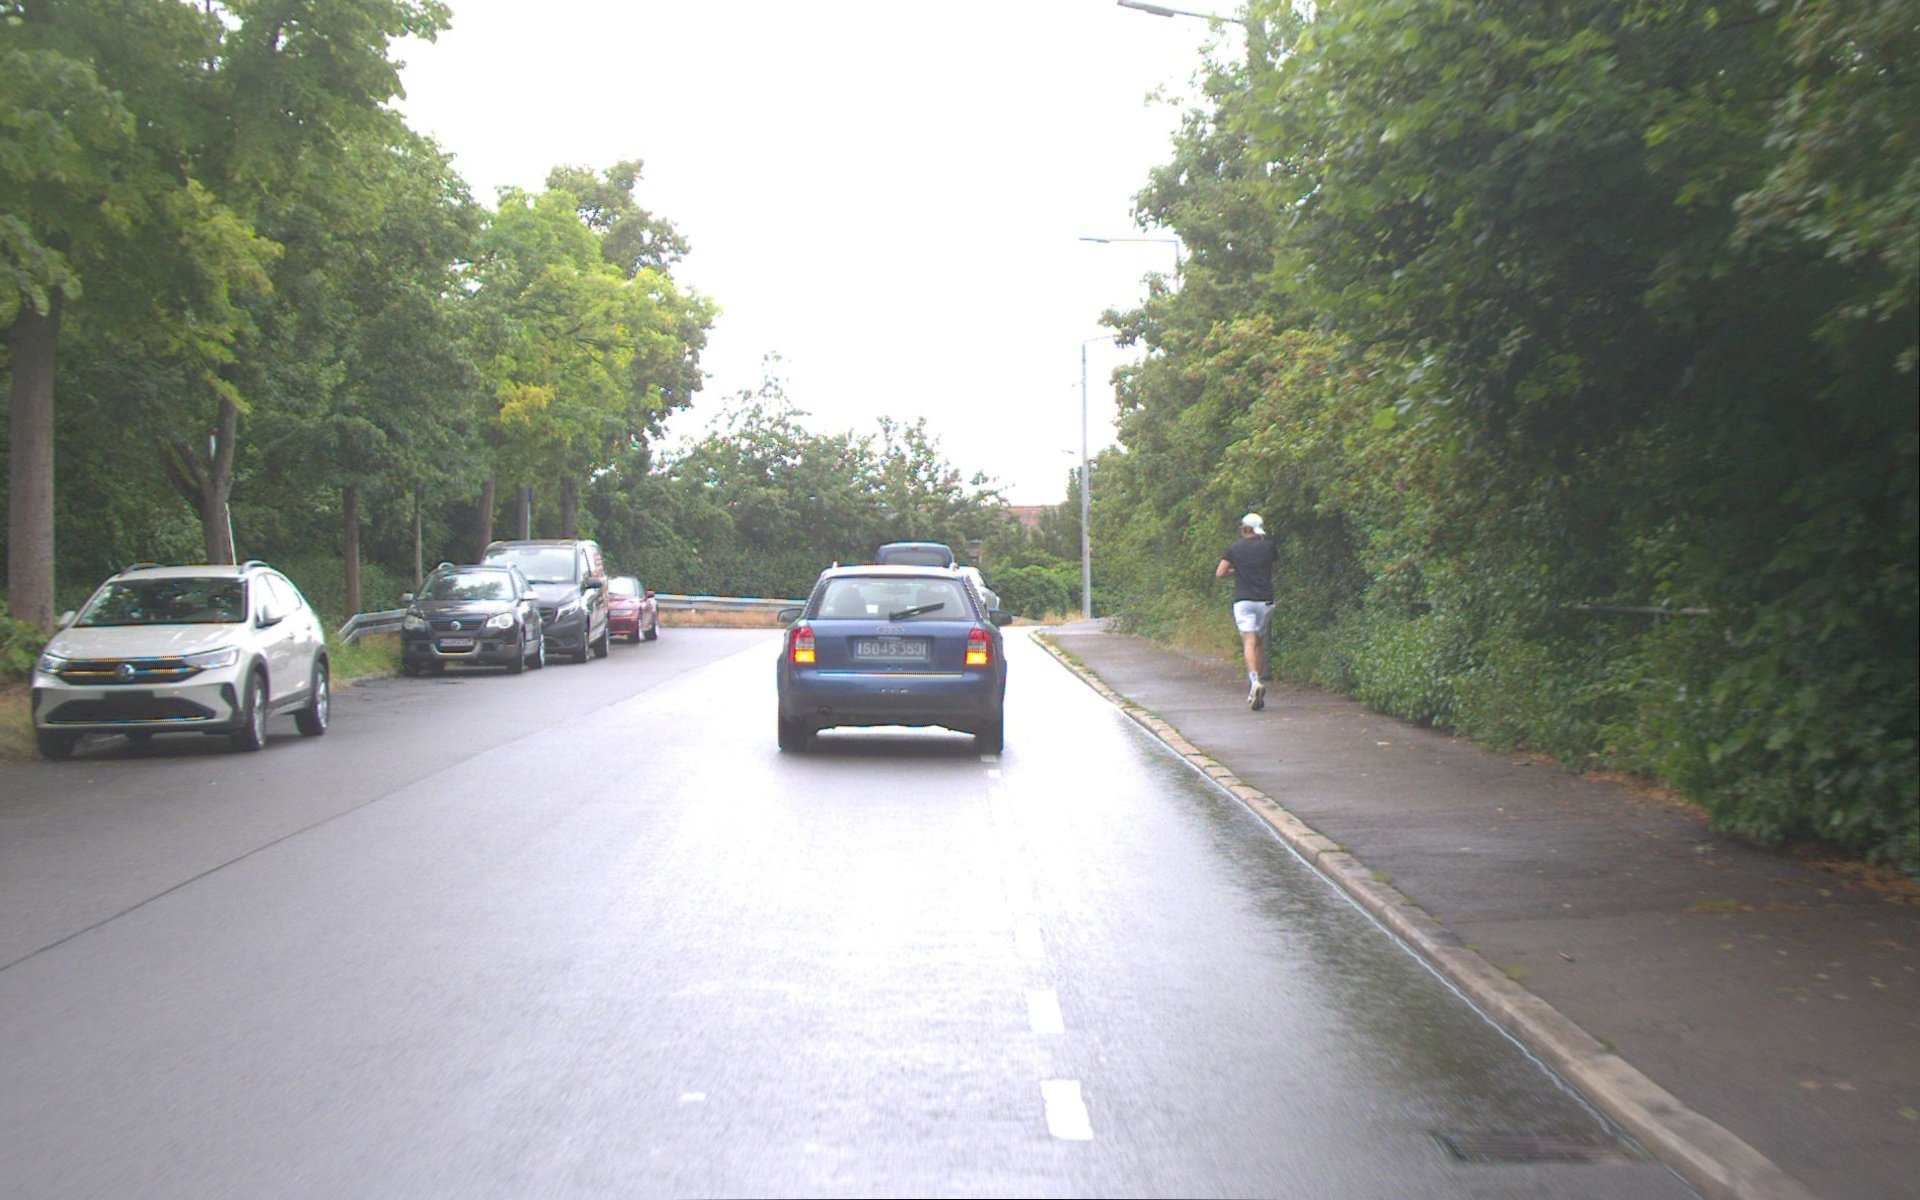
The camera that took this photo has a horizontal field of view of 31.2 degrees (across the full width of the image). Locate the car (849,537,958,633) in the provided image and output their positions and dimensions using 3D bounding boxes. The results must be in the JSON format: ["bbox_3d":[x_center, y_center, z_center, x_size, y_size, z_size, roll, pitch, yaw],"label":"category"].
[{"bbox_3d":[-0.972,-0.272,61.036,1.822,1.611,3.785,-1,0,0],"label":"car"}]

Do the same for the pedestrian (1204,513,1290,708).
[{"bbox_3d":[2.769,0.092,33.231,0.717,1.828,1.021,-2,1,2],"label":"pedestrian"}]

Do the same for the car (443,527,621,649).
[{"bbox_3d":[-6.684,-0.194,54.300,2.083,1.813,5.381,-1,0,0],"label":"car"}]

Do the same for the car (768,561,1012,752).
[{"bbox_3d":[-0.624,0.423,27.244,1.747,1.403,4.000,0,0,-4],"label":"car"}]

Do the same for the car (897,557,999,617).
[{"bbox_3d":[-0.235,-0.288,72.930,1.822,1.198,3.785,-1,0,5],"label":"car"}]

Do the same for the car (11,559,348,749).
[{"bbox_3d":[-6.361,0.406,28.478,1.689,1.432,4.256,-1,0,2],"label":"car"}]

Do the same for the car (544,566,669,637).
[{"bbox_3d":[-6.706,0.016,65.573,1.789,1.292,4.325,-1,0,2],"label":"car"}]

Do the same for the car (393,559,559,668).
[{"bbox_3d":[-6.748,0.171,48.329,1.797,1.432,4.256,-1,0,-1],"label":"car"}]

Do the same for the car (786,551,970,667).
[{"bbox_3d":[-0.983,0.100,43.183,1.891,1.384,3.999,0,0,5],"label":"car"}]
